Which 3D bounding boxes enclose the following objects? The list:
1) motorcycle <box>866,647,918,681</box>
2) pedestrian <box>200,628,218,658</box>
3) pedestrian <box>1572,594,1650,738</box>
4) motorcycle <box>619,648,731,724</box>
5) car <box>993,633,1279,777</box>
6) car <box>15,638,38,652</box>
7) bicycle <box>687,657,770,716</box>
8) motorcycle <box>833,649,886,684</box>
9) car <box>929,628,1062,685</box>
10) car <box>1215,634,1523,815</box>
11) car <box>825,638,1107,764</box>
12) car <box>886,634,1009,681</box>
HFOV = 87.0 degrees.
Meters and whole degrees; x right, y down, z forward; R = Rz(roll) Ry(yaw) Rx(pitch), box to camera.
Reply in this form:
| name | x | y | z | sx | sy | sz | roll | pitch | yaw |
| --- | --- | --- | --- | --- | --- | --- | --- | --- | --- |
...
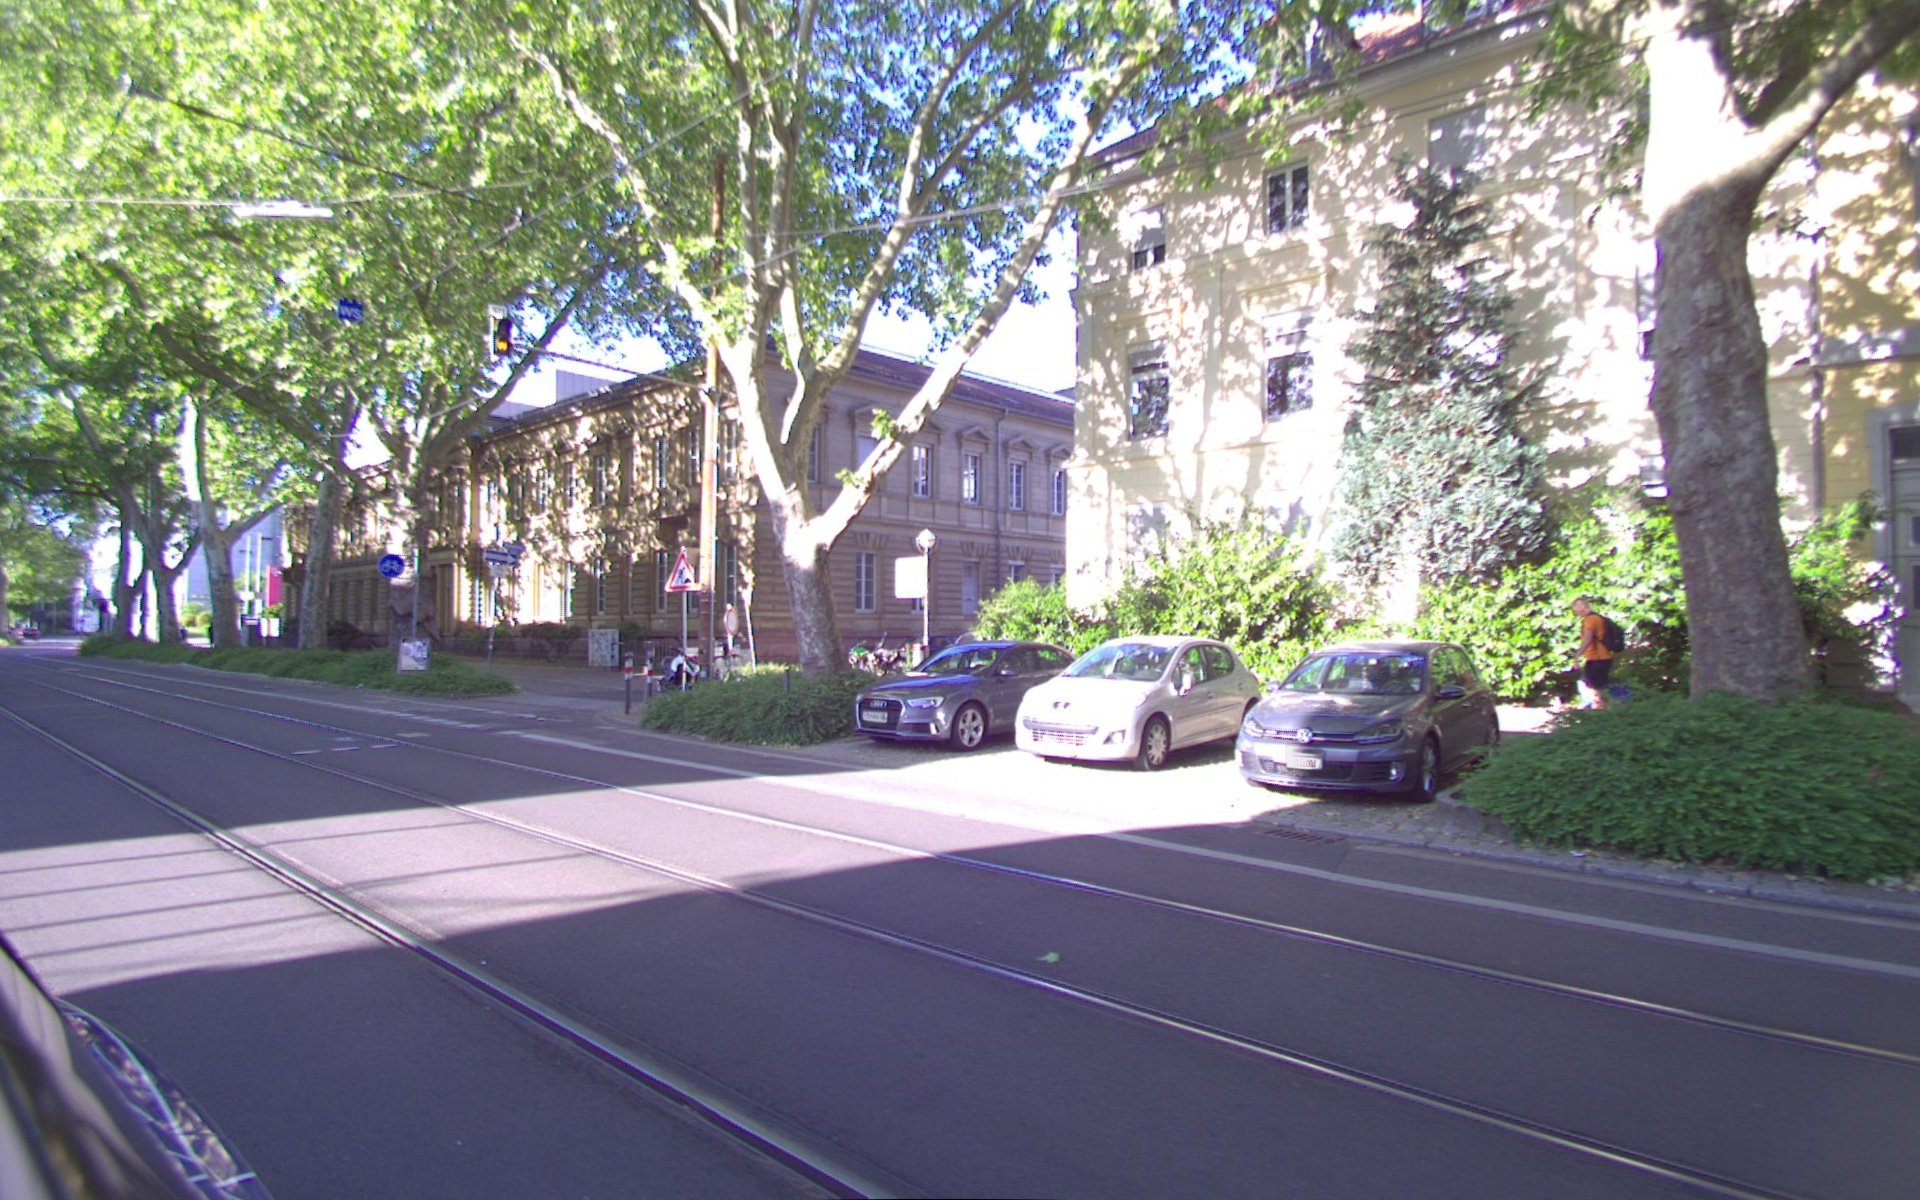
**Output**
| name | x | y | z | sx | sy | sz | roll | pitch | yaw |
| --- | --- | --- | --- | --- | --- | --- | --- | --- | --- |
| motorcycle | -2.189 | 2.033 | 32.473 | 0.710 | 0.984 | 1.959 | -1 | -1 | -37 |
| pedestrian | -45.859 | 2.615 | 61.787 | 0.837 | 1.863 | 0.711 | -2 | -2 | 40 |
| pedestrian | 8.836 | 0.869 | 13.747 | 0.835 | 1.863 | 0.858 | -1 | -2 | 33 |
| motorcycle | -4.879 | 1.417 | 17.203 | 0.873 | 1.156 | 2.394 | 1 | -2 | -41 |
| car | 2.307 | 1.155 | 12.562 | 1.799 | 1.464 | 3.881 | -1 | -2 | 40 |
| car | -112.123 | 5.359 | 121.546 | 1.845 | 1.642 | 4.563 | 2 | -3 | -44 |
| bicycle | -4.137 | 1.508 | 17.990 | 0.534 | 0.948 | 2.036 | 1 | -2 | -41 |
| motorcycle | -3.150 | 2.065 | 31.636 | 0.710 | 0.984 | 1.959 | -1 | -1 | -37 |
| car | 1.034 | 1.554 | 27.974 | 1.693 | 1.429 | 3.737 | -5 | -5 | 41 |
| car | 4.362 | 1.103 | 10.480 | 1.805 | 1.473 | 3.879 | -1 | -2 | 41 |
| car | 0.198 | 1.277 | 14.090 | 1.847 | 1.342 | 3.879 | -1 | 0 | 41 |
| car | -0.397 | 1.892 | 34.151 | 3.872 | 1.342 | 1.850 | -1 | 0 | -41 |
